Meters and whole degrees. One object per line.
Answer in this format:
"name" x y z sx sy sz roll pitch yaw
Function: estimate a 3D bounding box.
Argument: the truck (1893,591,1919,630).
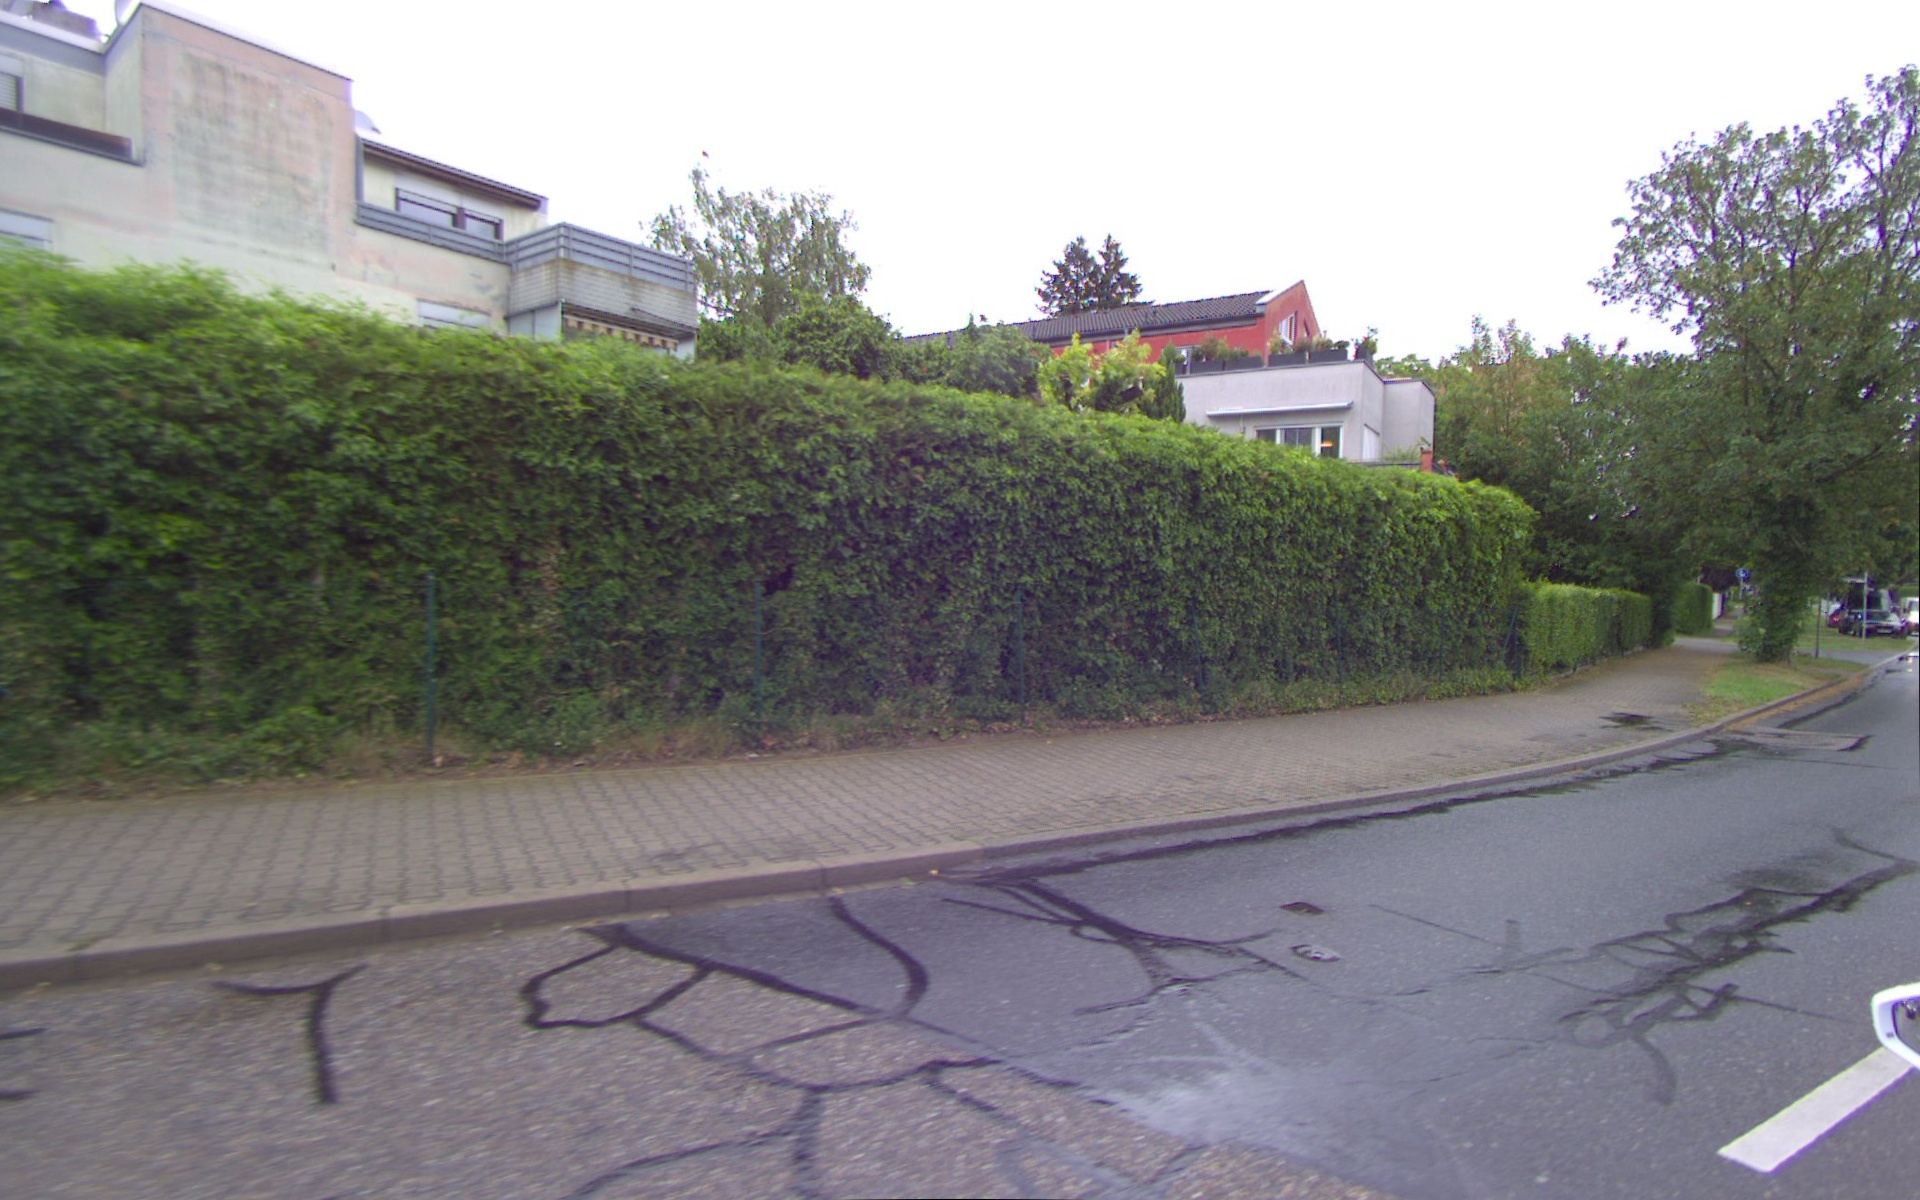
"truck" 58.150 0.684 60.847 2.192 2.233 6.428 4 3 42

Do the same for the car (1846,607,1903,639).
"car" 45.446 1.134 49.969 1.701 1.427 3.809 4 2 38
